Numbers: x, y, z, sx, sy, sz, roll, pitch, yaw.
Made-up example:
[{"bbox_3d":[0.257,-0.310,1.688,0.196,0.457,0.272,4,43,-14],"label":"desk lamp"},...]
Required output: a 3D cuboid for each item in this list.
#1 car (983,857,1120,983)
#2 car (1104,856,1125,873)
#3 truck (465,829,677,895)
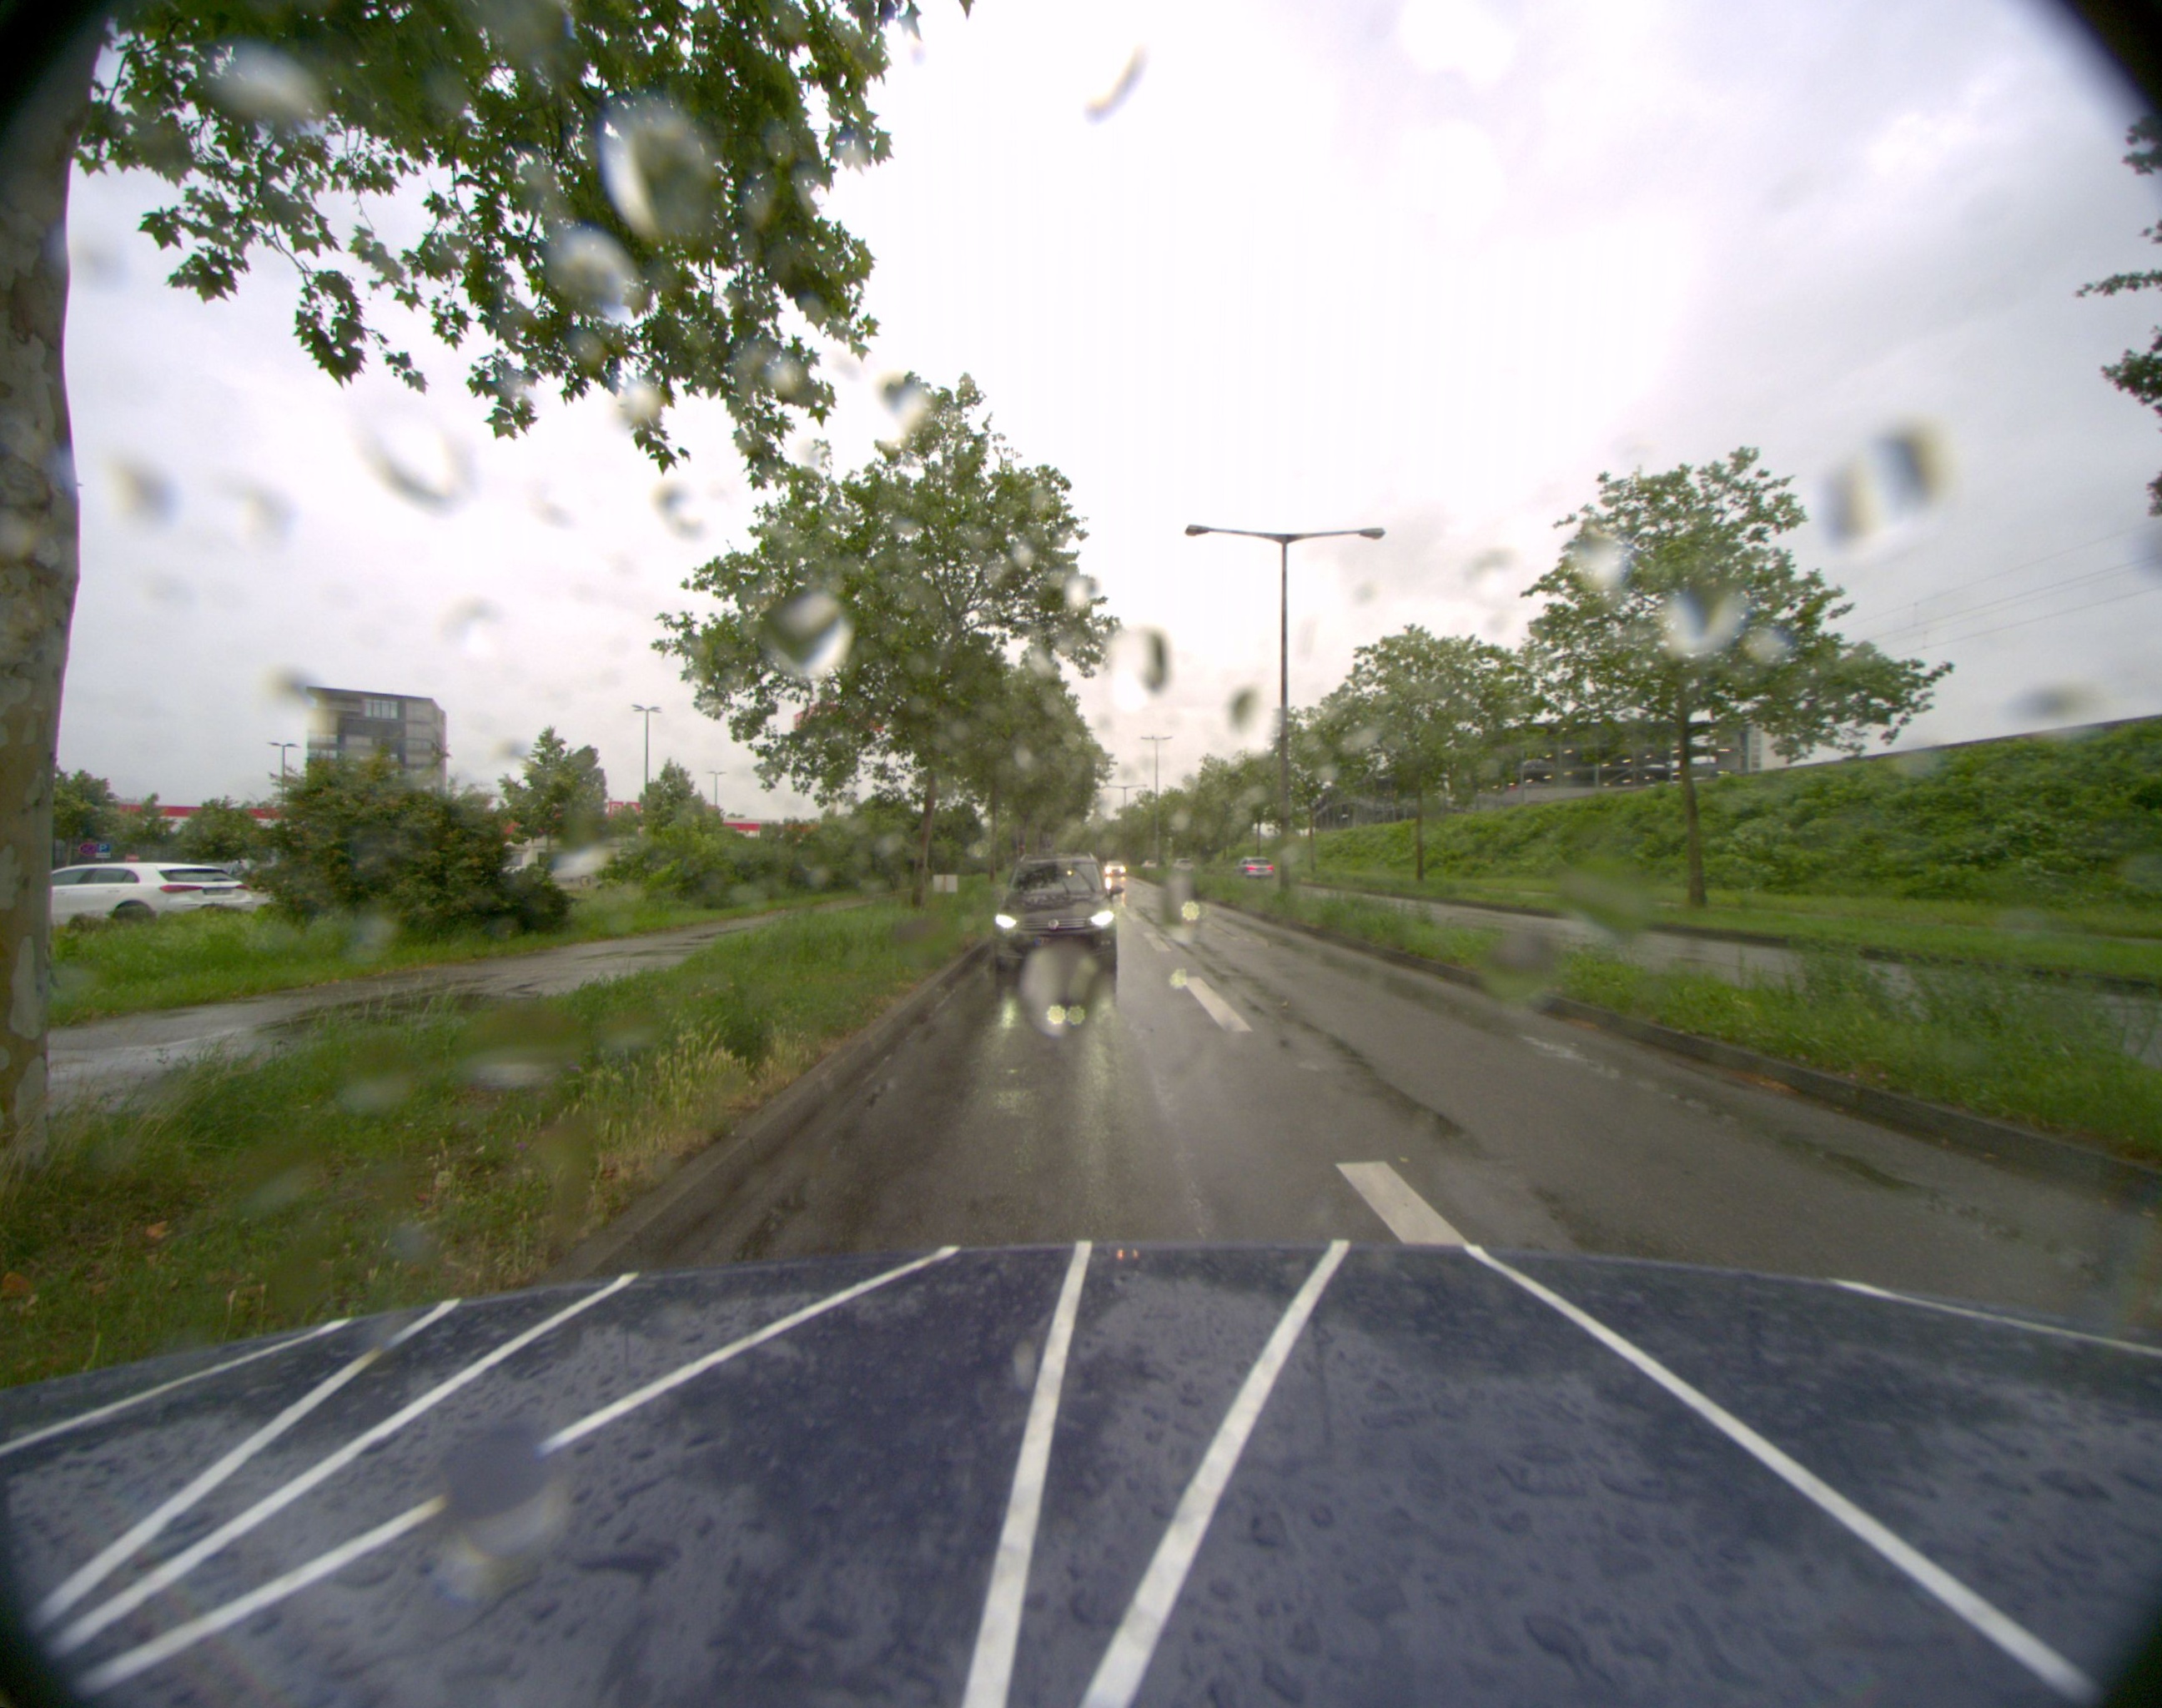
[{"bbox_3d":[-0.334,0.898,12.625,1.788,1.605,4.717,-2,0,2],"label":"car"},{"bbox_3d":[3.025,0.955,69.036,1.729,1.470,4.000,-2,0,1],"label":"car"},{"bbox_3d":[-19.856,0.265,29.900,6.552,2.291,2.219,-2,1,-6],"label":"truck"}]
